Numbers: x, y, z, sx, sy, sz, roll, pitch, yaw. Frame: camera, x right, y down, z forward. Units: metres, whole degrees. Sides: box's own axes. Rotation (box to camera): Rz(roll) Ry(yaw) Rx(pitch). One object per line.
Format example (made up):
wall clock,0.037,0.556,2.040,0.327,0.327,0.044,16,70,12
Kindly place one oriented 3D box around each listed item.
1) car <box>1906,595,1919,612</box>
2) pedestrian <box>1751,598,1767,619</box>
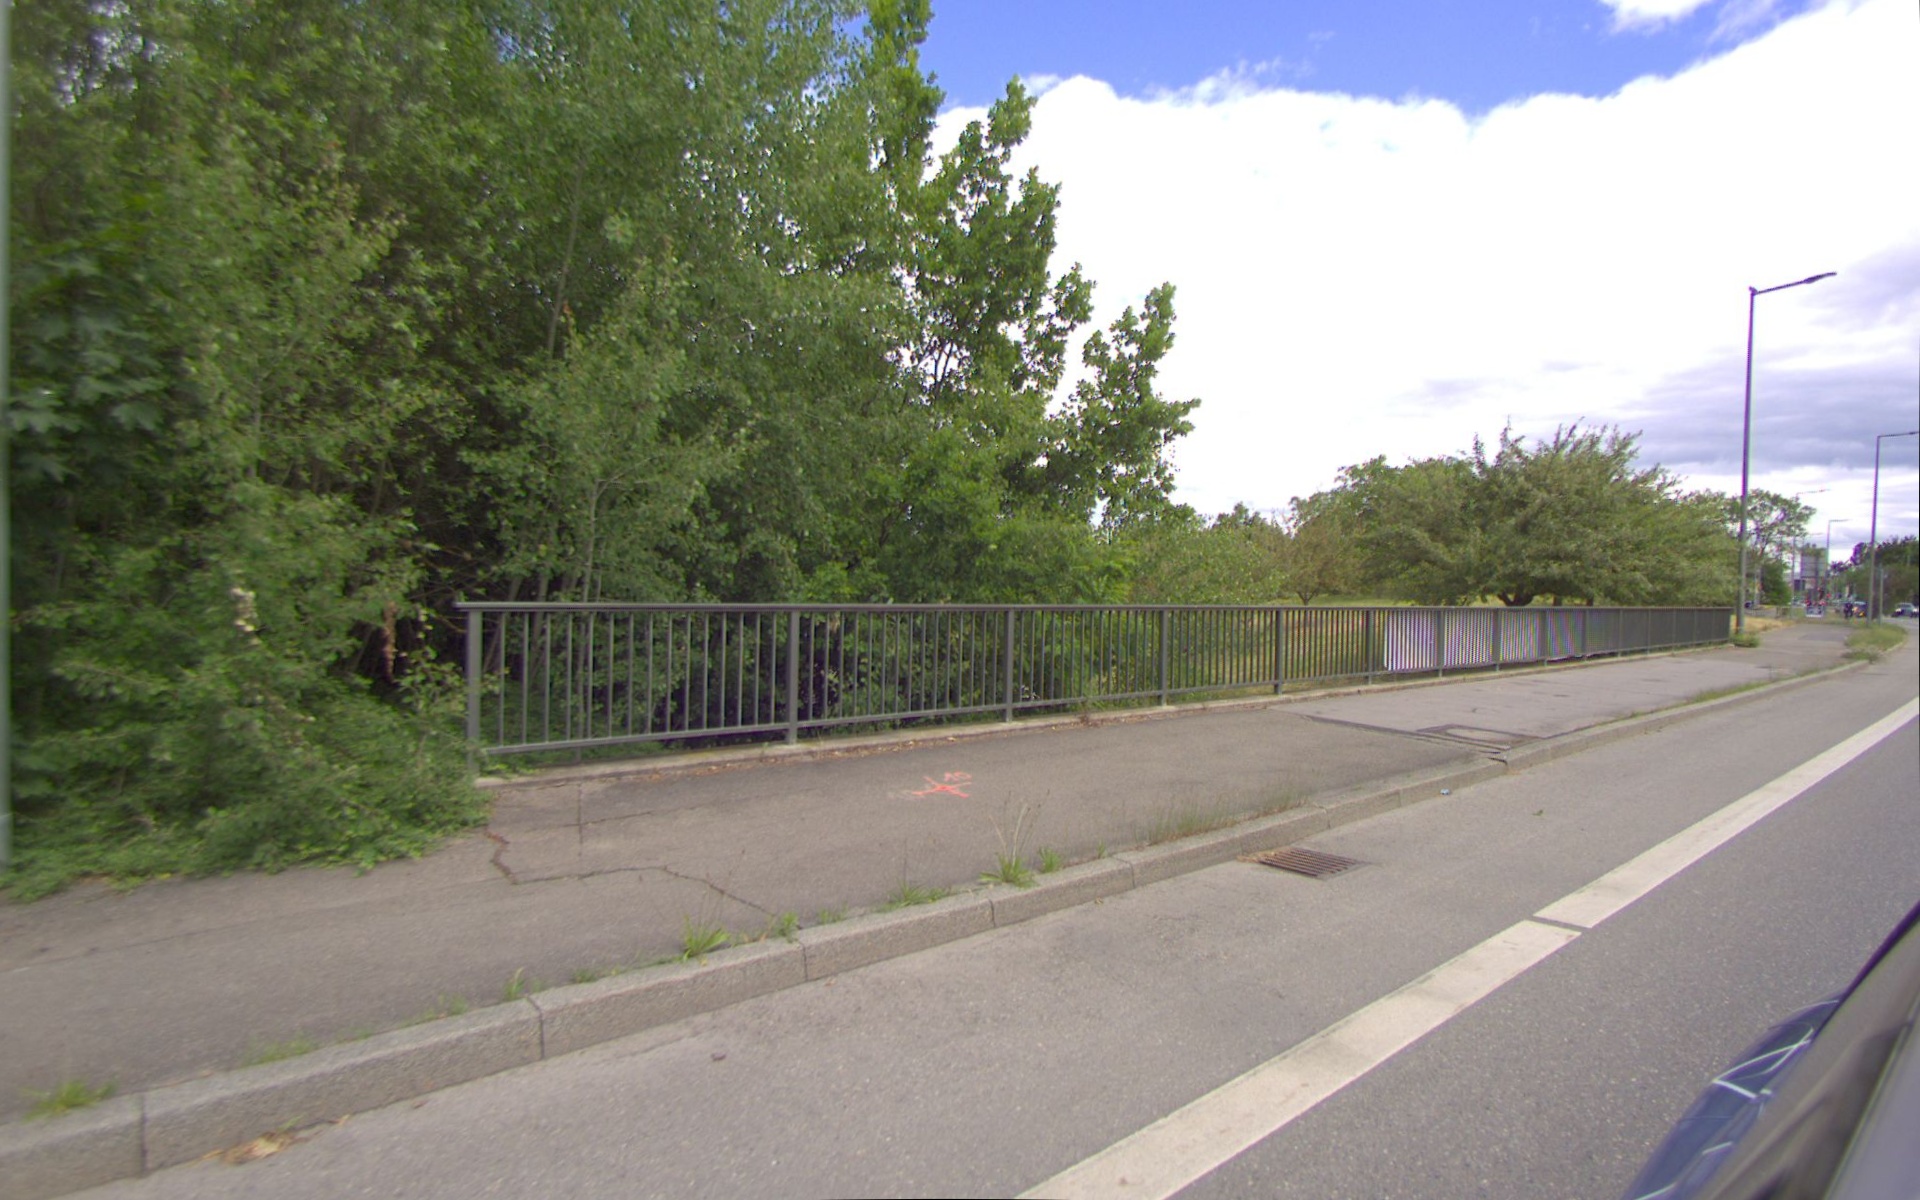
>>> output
car,97.802,0.377,103.046,1.865,1.716,4.308,1,0,40
pedestrian,73.114,0.795,92.601,0.787,1.907,0.765,0,0,6
